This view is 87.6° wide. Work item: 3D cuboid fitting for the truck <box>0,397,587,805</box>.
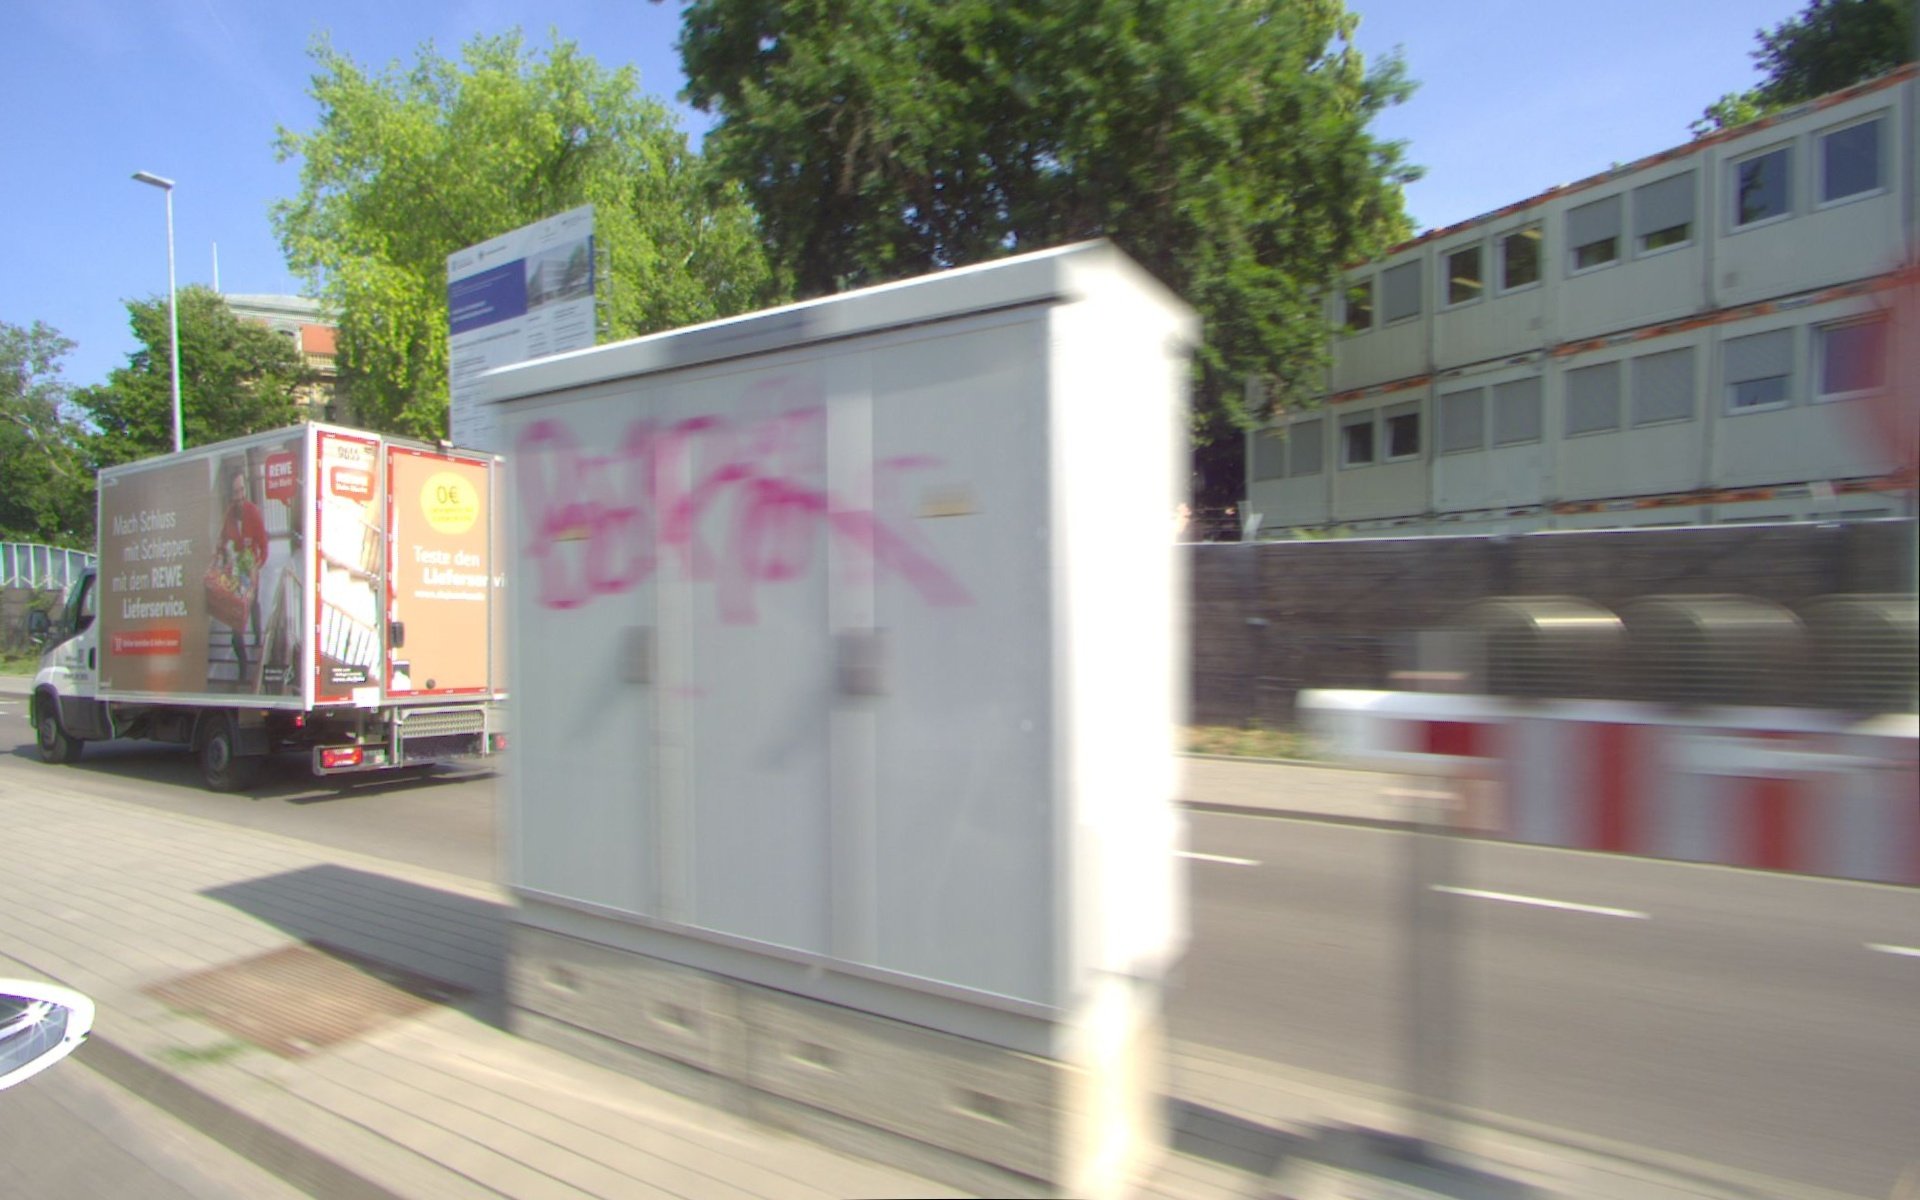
[{"bbox_3d":[-7.569,0.108,10.715,7.707,3.099,2.499,-1,-2,32],"label":"truck"}]
